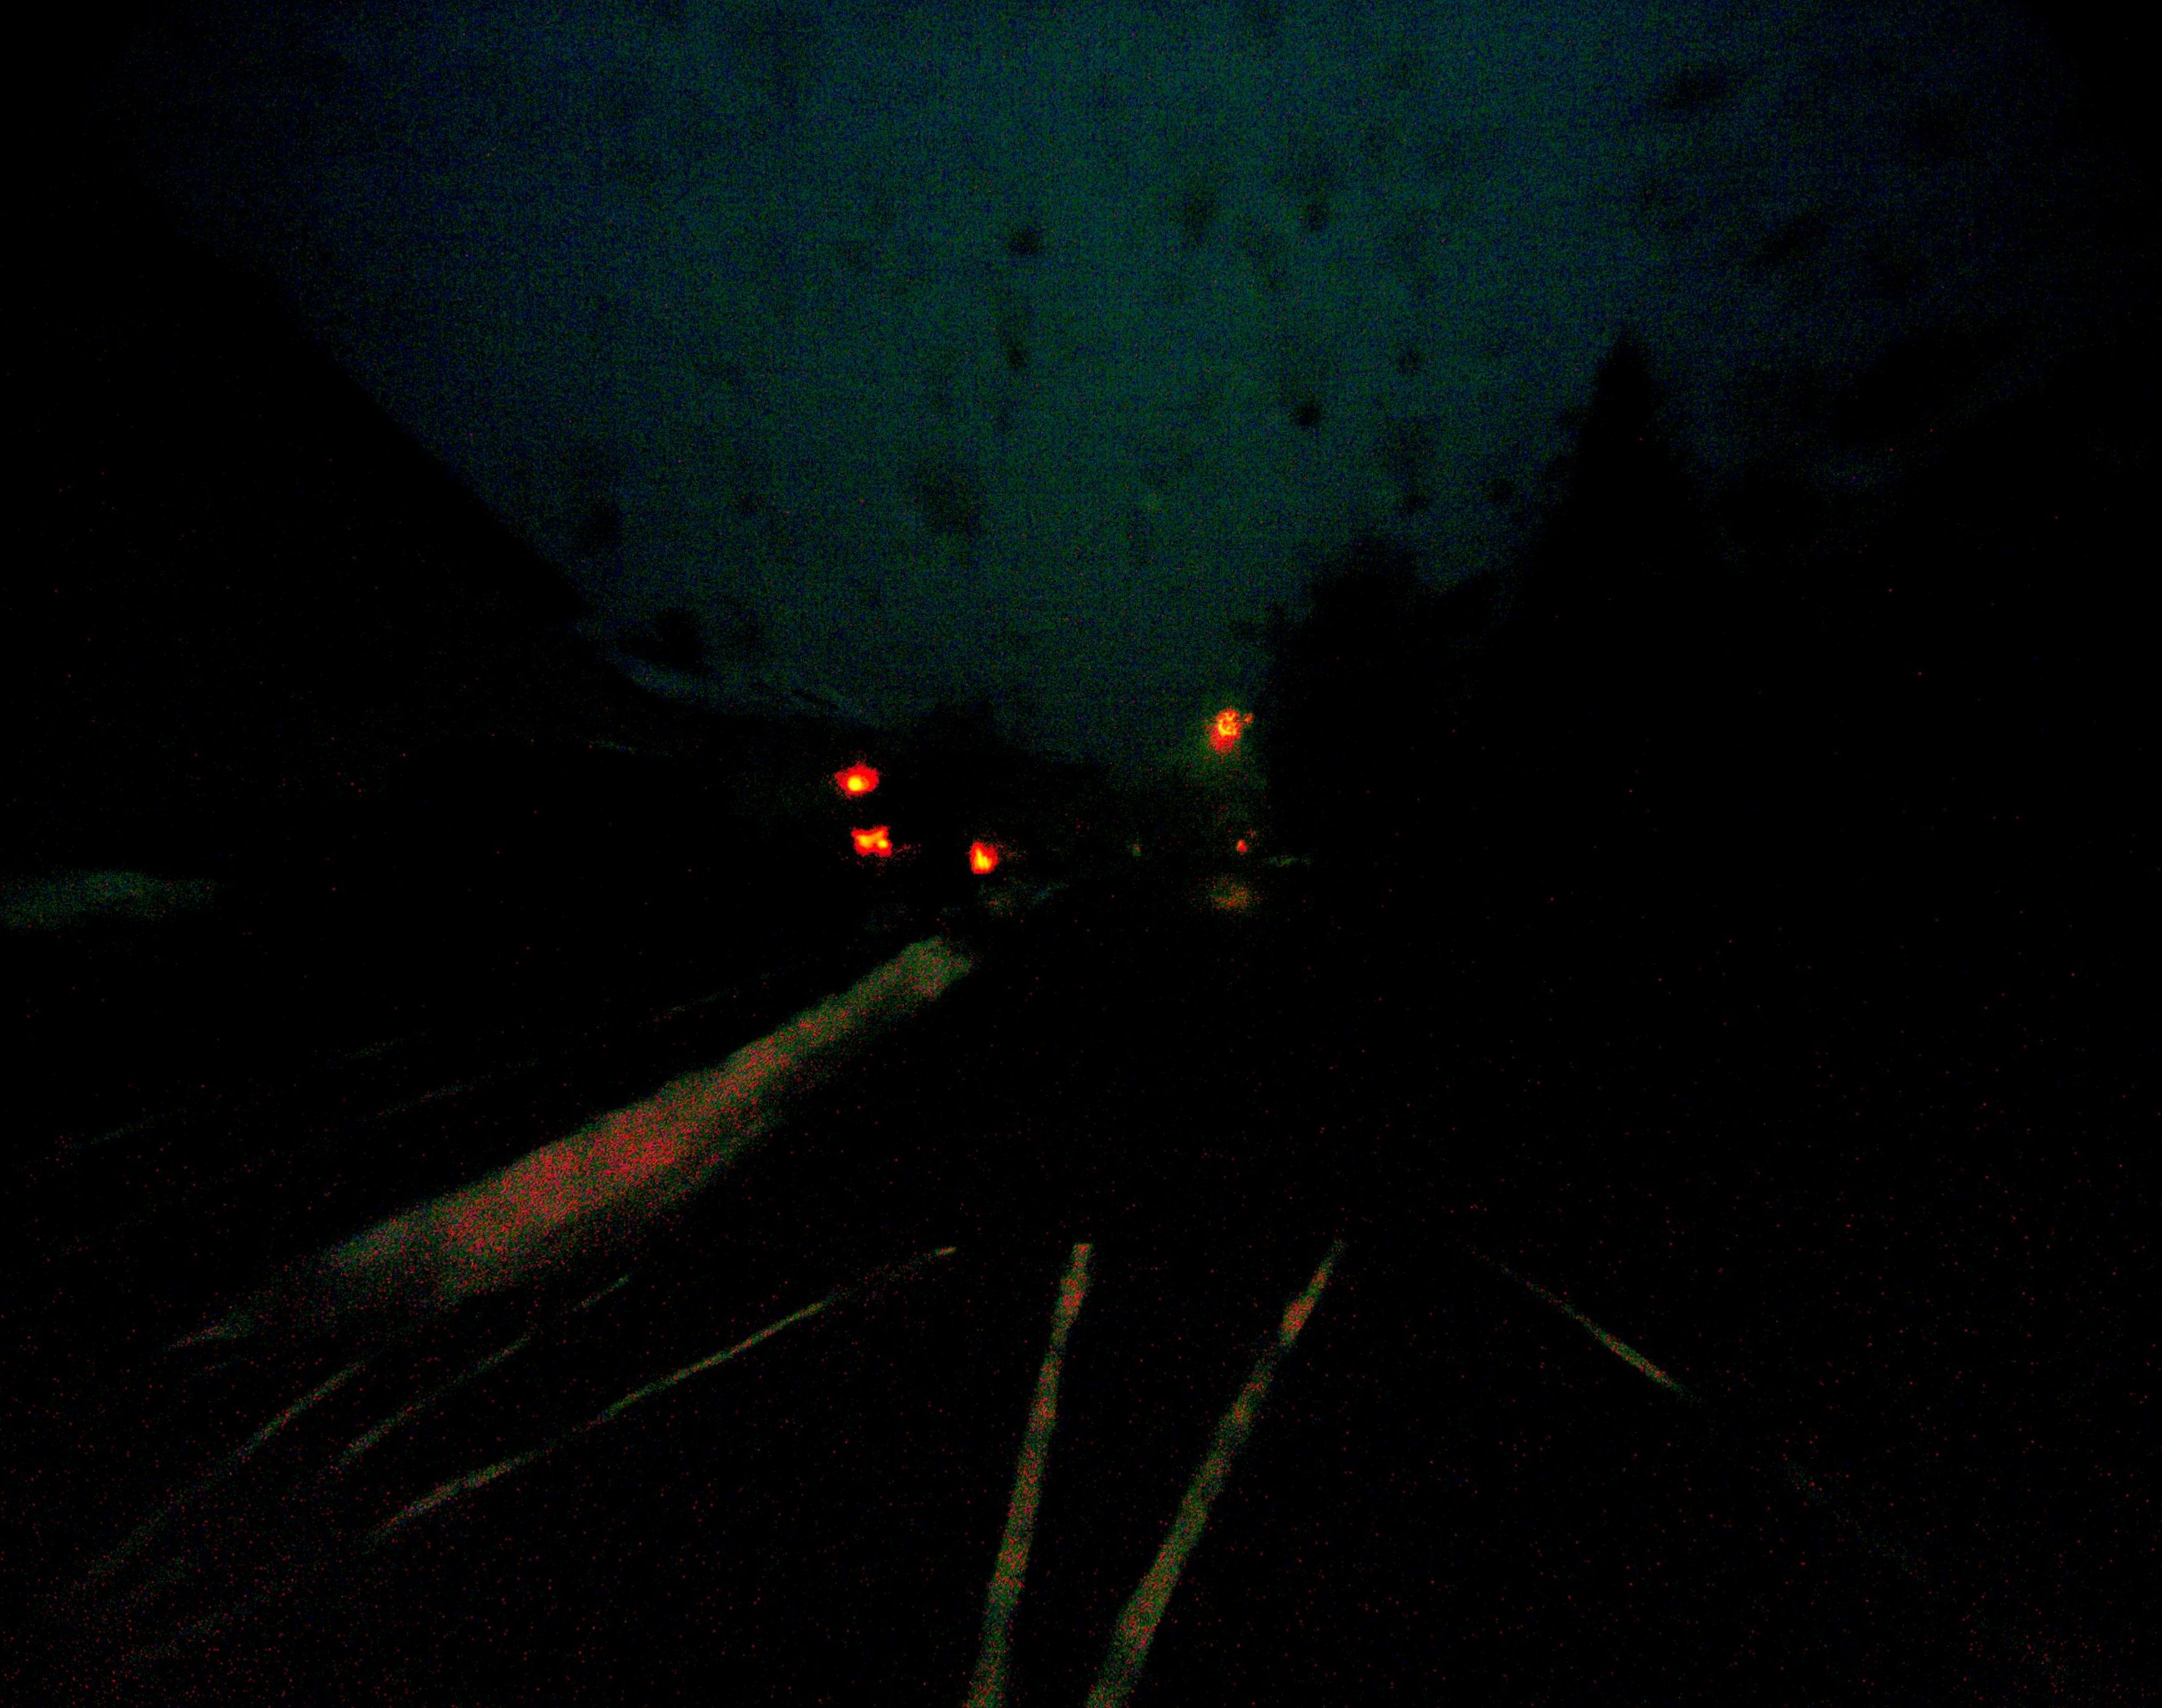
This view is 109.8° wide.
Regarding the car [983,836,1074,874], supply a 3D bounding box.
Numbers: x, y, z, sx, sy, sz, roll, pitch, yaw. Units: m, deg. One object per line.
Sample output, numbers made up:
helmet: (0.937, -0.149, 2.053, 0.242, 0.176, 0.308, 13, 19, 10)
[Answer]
car: (-2.703, 0.032, 39.461, 4.210, 1.848, 1.913, -1, 3, 19)
